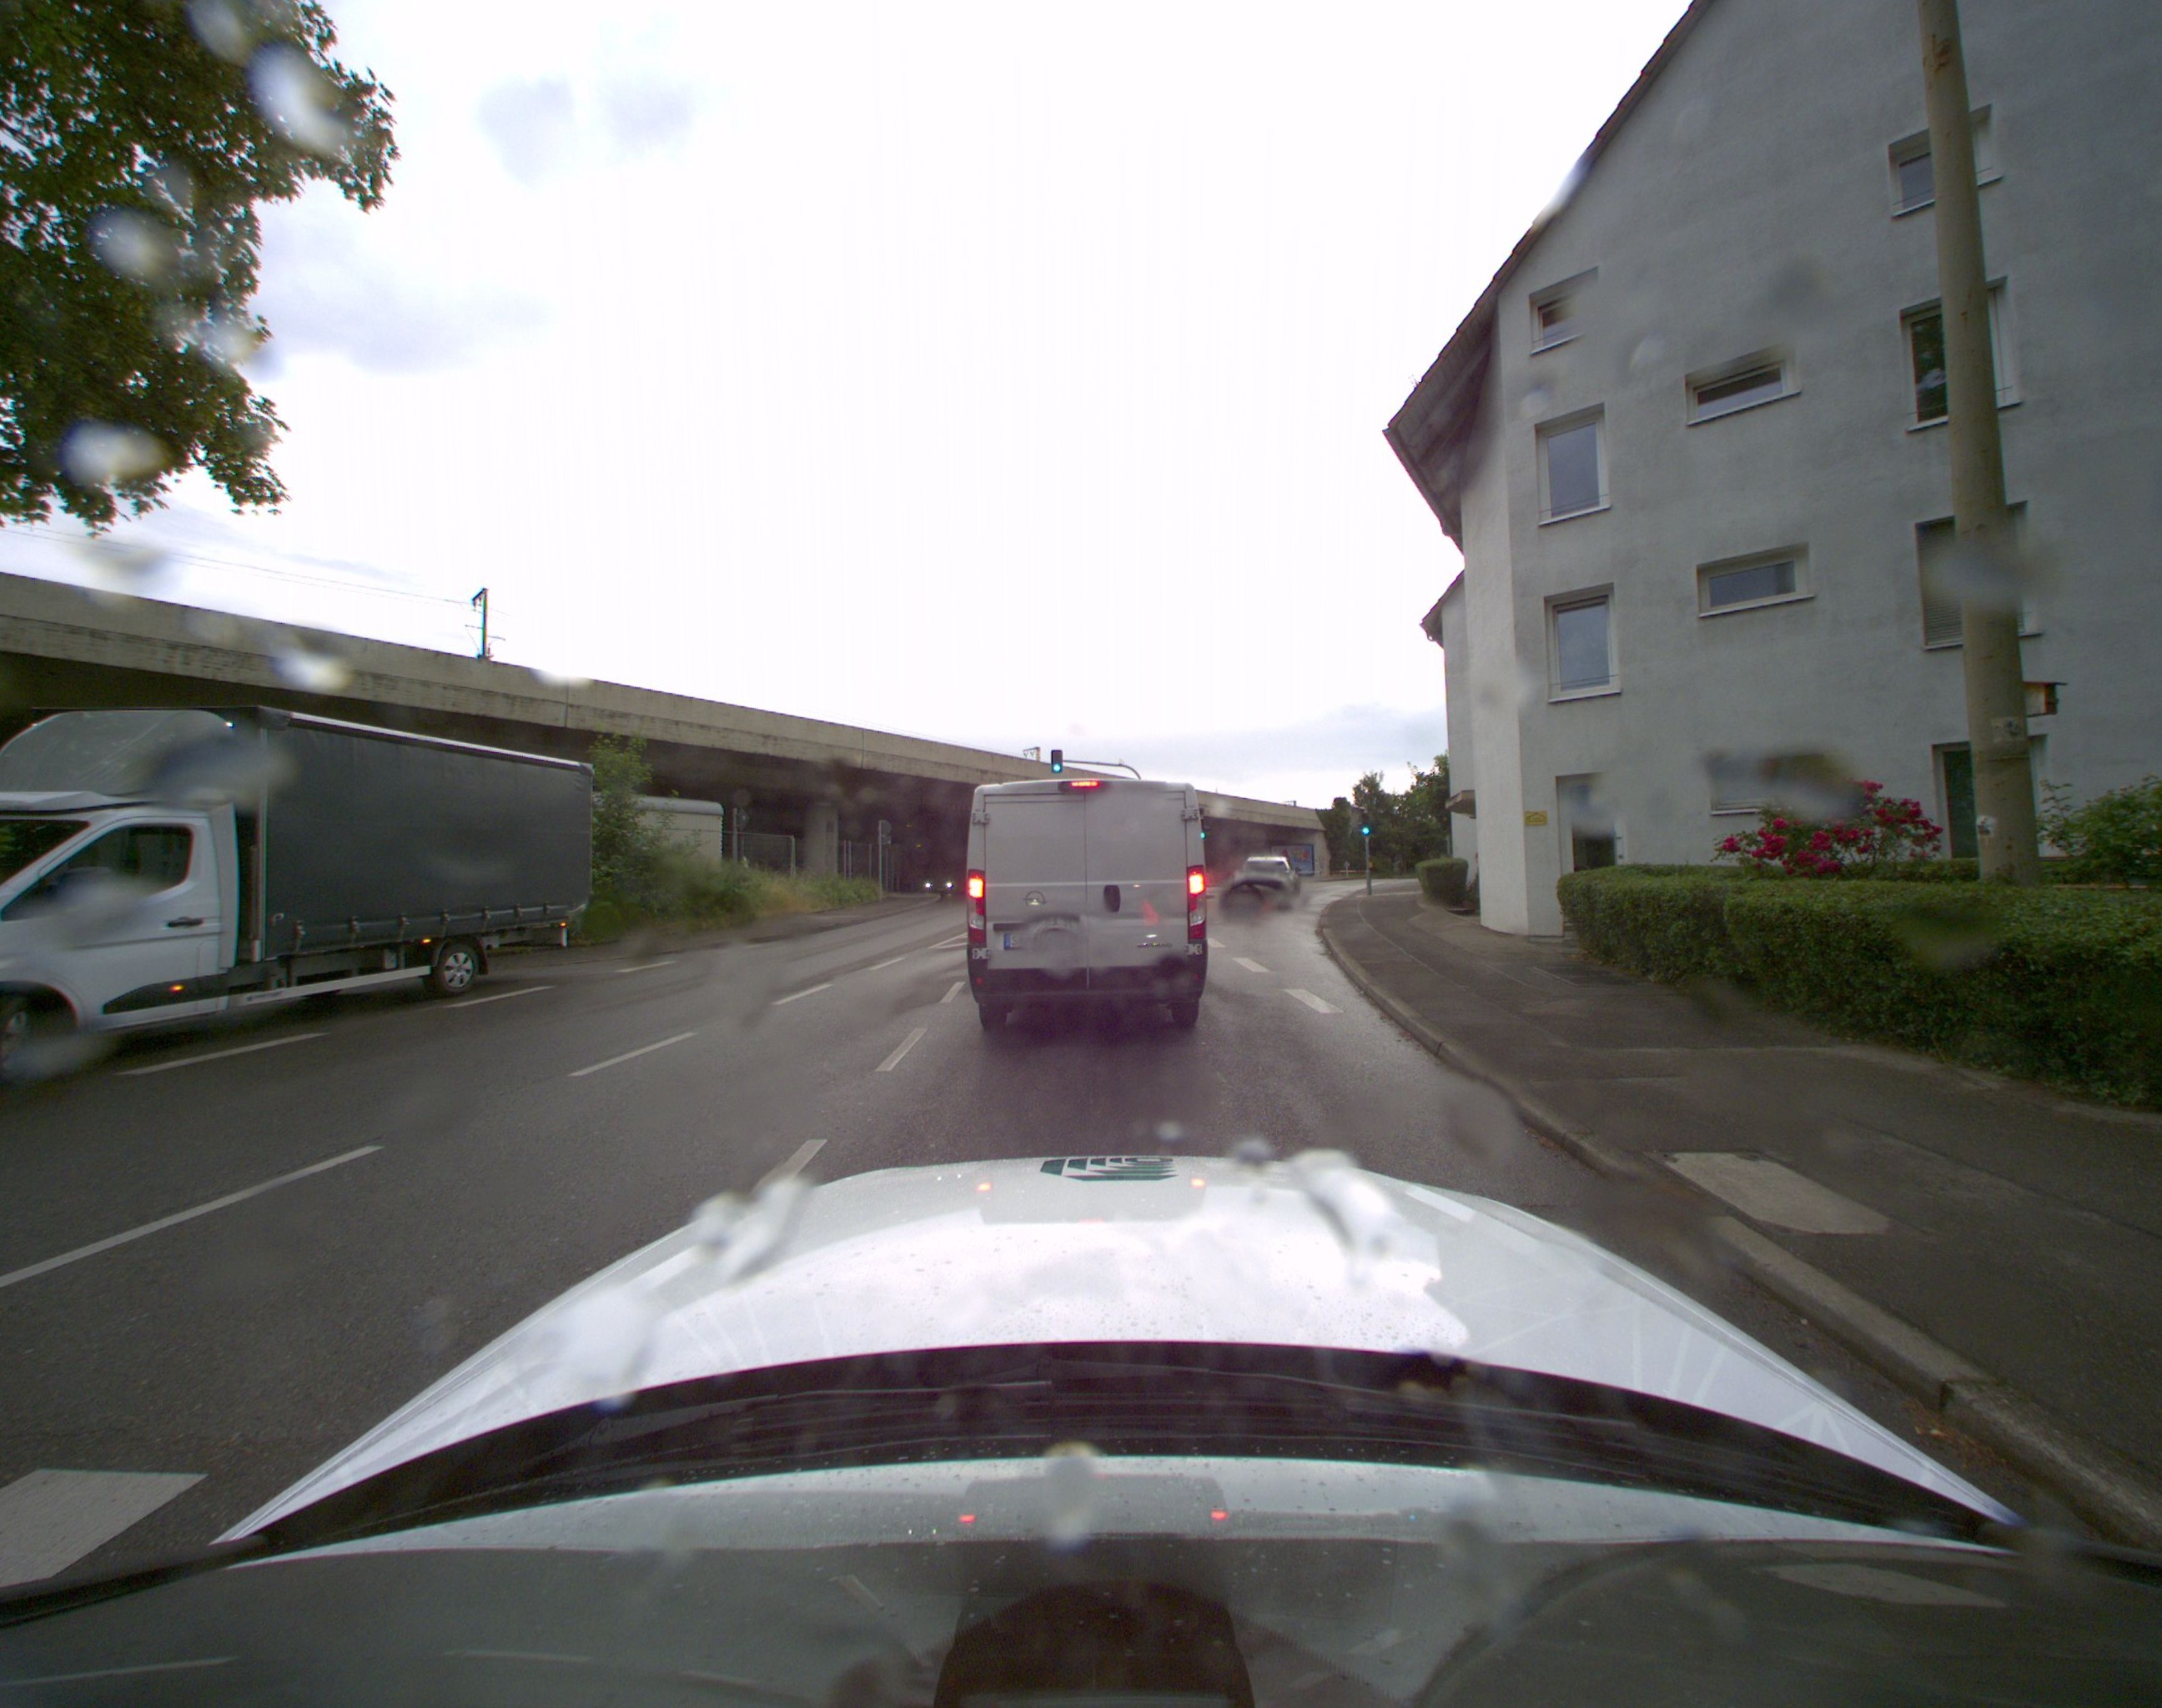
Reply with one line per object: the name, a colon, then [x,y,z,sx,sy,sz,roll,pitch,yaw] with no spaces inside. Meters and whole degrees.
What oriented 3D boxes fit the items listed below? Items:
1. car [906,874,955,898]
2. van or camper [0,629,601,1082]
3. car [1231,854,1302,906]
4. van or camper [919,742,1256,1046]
car: [-10.479,2.181,56.493,2.006,1.530,4.456,0,-1,-30]
van or camper: [-9.174,0.064,9.164,2.688,3.335,7.765,-1,-1,2]
car: [6.040,0.783,26.210,1.860,1.530,4.018,-1,-1,17]
van or camper: [0.047,0.342,9.050,2.690,2.417,4.902,-1,-1,0]
